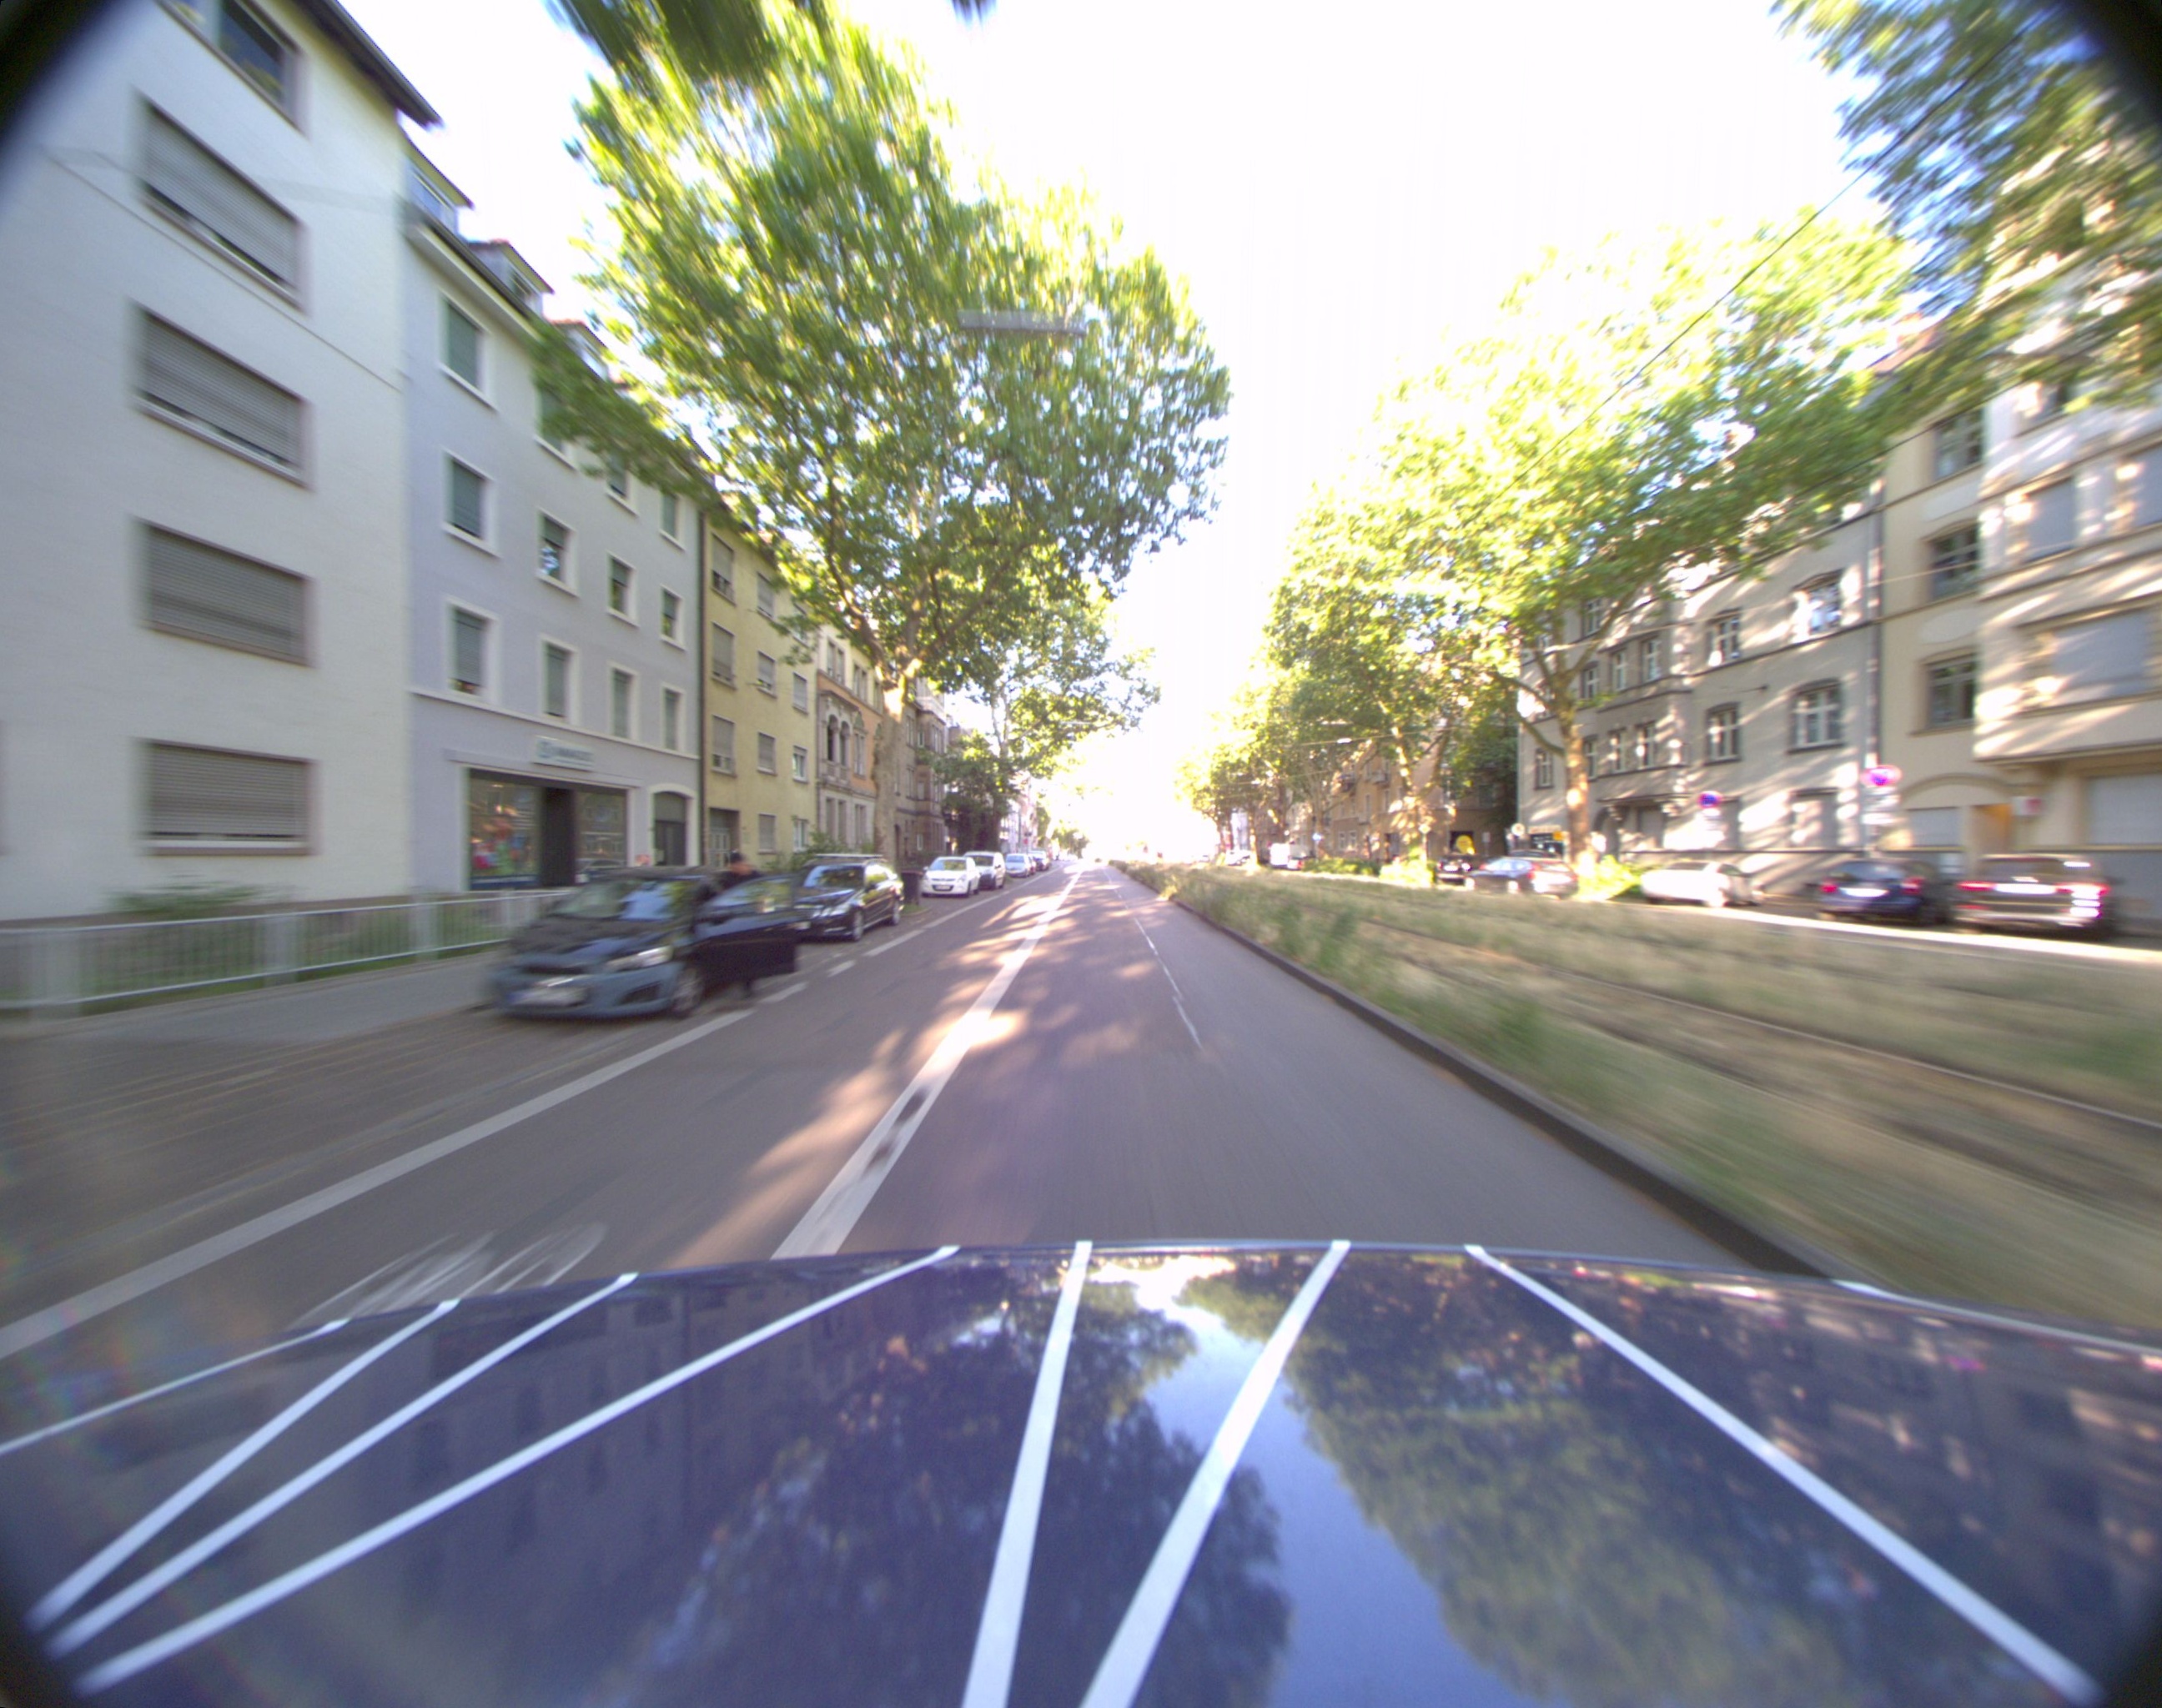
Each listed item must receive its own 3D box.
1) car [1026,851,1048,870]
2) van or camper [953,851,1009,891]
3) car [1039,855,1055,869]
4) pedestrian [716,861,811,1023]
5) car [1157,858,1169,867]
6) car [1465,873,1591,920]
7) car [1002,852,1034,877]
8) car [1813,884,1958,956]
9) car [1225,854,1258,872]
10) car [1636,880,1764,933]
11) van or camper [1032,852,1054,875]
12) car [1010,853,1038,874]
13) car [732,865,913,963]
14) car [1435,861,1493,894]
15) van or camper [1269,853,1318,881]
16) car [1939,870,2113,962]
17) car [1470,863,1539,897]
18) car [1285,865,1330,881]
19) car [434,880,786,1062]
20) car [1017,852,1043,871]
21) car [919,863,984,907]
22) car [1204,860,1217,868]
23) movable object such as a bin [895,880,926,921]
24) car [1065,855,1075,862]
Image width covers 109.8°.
[{"bbox_3d":[-4.005,0.565,69.359,1.790,1.585,4.013,1,0,0],"label":"car"},{"bbox_3d":[-4.530,0.736,34.974,1.790,1.710,4.380,1,0,2],"label":"van or camper"},{"bbox_3d":[-4.501,1.054,101.320,1.998,1.820,4.000,0,0,1],"label":"car"},{"bbox_3d":[-3.670,0.970,8.783,0.755,1.740,0.679,-1,1,42],"label":"pedestrian"},{"bbox_3d":[14.910,1.536,137.751,1.997,1.477,4.002,-2,0,9],"label":"car"},{"bbox_3d":[15.740,1.453,27.065,1.825,1.381,4.484,2,0,0],"label":"car"},{"bbox_3d":[-4.252,0.689,51.996,1.790,1.609,3.829,1,0,1],"label":"car"},{"bbox_3d":[19.786,1.551,18.648,4.008,1.524,1.821,2,-1,-34],"label":"car"},{"bbox_3d":[20.457,1.138,96.593,4.007,2.002,1.995,-2,1,-41],"label":"car"},{"bbox_3d":[18.877,1.550,23.165,3.687,1.382,1.822,0,0,-30],"label":"car"},{"bbox_3d":[-3.769,0.955,76.096,1.790,2.172,4.732,1,0,1],"label":"van or camper"},{"bbox_3d":[-4.244,0.680,57.302,1.790,1.458,3.570,1,0,1],"label":"car"},{"bbox_3d":[-5.010,1.077,15.538,1.998,1.557,4.664,2,0,1],"label":"car"},{"bbox_3d":[19.793,1.185,39.184,1.726,1.643,4.009,-1,-1,41],"label":"car"},{"bbox_3d":[20.015,1.196,71.520,4.371,2.386,2.196,-4,1,-39],"label":"van or camper"},{"bbox_3d":[19.116,1.180,15.331,4.169,1.583,1.932,2,-1,-35],"label":"car"},{"bbox_3d":[20.190,1.202,36.144,4.009,1.545,1.655,1,-1,-42],"label":"car"},{"bbox_3d":[20.572,1.706,68.981,4.006,1.240,1.726,-3,1,-33],"label":"car"},{"bbox_3d":[-4.948,1.103,8.759,1.748,1.455,4.024,0,0,-4],"label":"car"},{"bbox_3d":[-4.166,0.568,62.069,1.790,1.458,3.570,1,0,1],"label":"car"},{"bbox_3d":[-4.803,1.108,28.681,1.702,1.517,4.195,0,0,1],"label":"car"},{"bbox_3d":[24.532,1.830,144.165,1.998,1.412,4.001,-2,0,3],"label":"car"},{"bbox_3d":[-4.876,1.326,21.787,0.683,1.109,0.670,-2,1,2],"label":"movable object such as a bin"},{"bbox_3d":[-2.542,0.912,173.600,1.893,1.501,4.000,-2,0,2],"label":"car"}]
